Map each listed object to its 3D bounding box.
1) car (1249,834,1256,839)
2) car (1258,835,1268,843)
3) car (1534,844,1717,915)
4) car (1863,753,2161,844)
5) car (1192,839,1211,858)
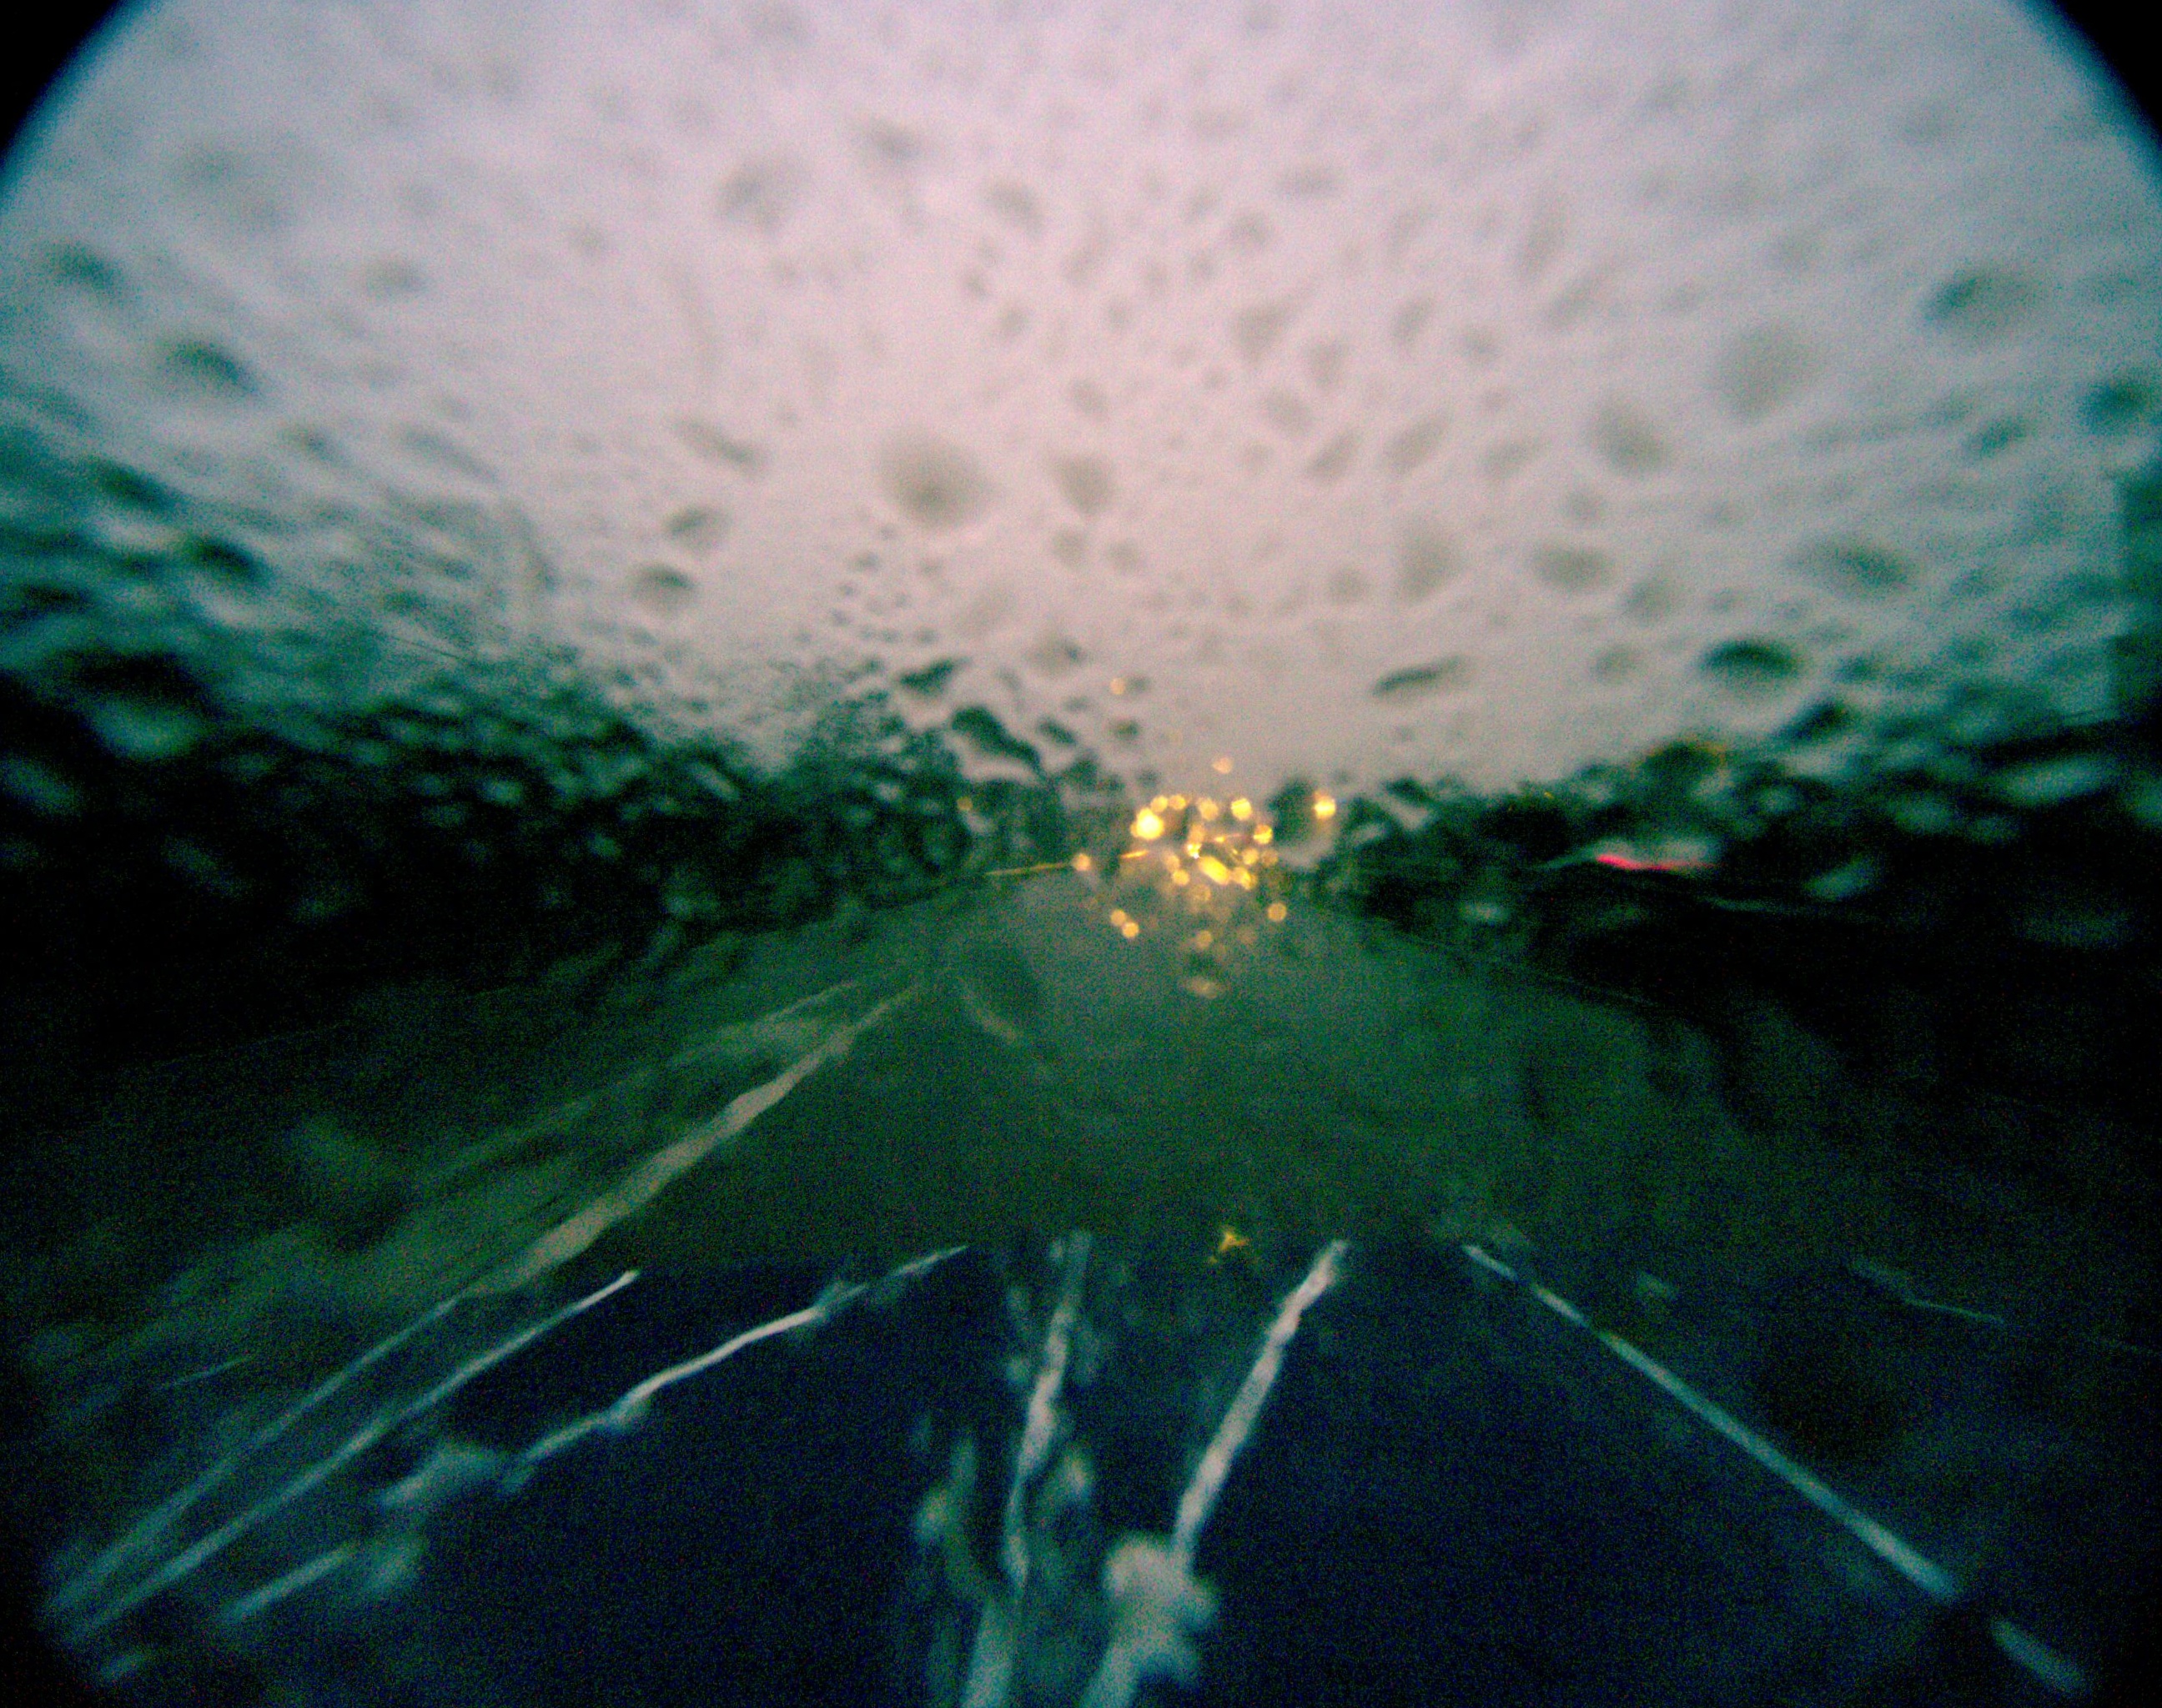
[{"bbox_3d":[51.202,-5.183,226.706,1.706,1.467,4.368,-2,2,11],"label":"car"},{"bbox_3d":[38.362,-3.171,160.193,1.765,1.617,4.530,-1,1,12],"label":"car"},{"bbox_3d":[14.621,0.590,20.797,1.798,1.674,4.689,-1,1,2],"label":"car"},{"bbox_3d":[38.933,-2.064,32.136,3.197,3.192,9.947,-1,1,12],"label":"car"},{"bbox_3d":[14.558,-0.682,91.809,1.997,2.002,4.002,-4,1,9],"label":"car"}]
